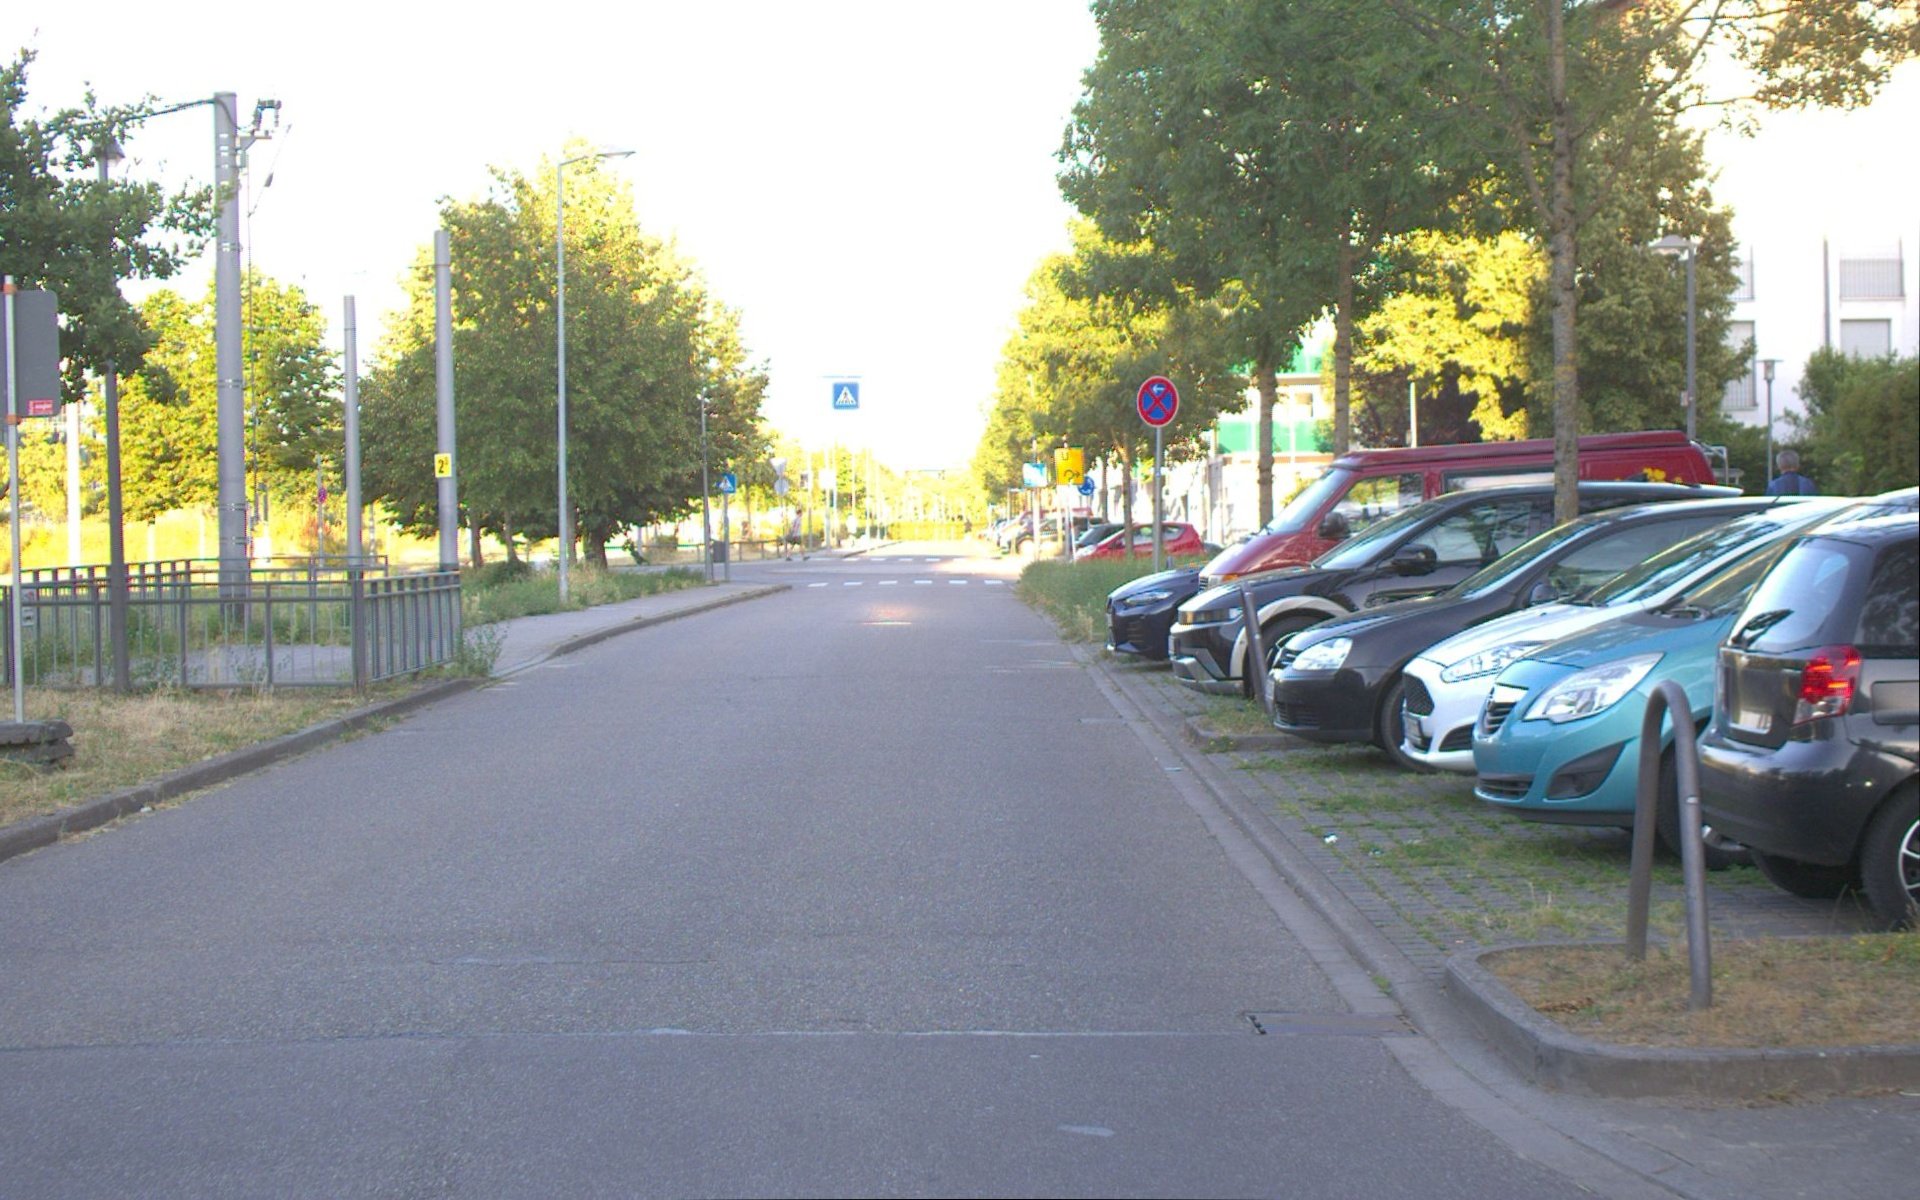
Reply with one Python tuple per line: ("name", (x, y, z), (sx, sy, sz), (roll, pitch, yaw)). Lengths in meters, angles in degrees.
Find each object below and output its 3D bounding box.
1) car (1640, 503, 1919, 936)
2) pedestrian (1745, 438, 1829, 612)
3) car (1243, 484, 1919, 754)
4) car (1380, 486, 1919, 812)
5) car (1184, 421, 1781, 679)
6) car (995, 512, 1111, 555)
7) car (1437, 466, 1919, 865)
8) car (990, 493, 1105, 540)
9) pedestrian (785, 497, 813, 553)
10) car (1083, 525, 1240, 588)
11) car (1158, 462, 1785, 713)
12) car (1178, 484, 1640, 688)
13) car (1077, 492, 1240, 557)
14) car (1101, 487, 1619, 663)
("car", (4.567, 0.369, 12.639), (3.749, 1.468, 1.613), (-1, 1, -4))
("pedestrian", (8.388, -0.760, 34.894), (0.668, 1.737, 0.699), (-1, 1, 0))
("car", (3.625, 0.116, 20.202), (3.773, 1.490, 1.539), (-1, -1, 0))
("car", (4.185, 0.211, 17.558), (3.876, 1.563, 1.620), (-1, 1, 0))
("car", (4.482, -0.441, 30.084), (4.920, 2.110, 2.017), (-1, 1, 1))
("car", (3.628, -2.599, 134.084), (4.484, 1.590, 2.000), (-1, 1, 1))
("car", (4.219, 0.204, 14.813), (4.050, 1.563, 1.673), (-2, 1, 0))
("car", (3.995, -3.804, 157.266), (5.002, 2.038, 2.251), (-1, 1, -4))
("pedestrian", (-5.811, -2.721, 124.237), (0.846, 2.007, 0.943), (-1, 1, 6))
("car", (5.054, -1.106, 86.503), (3.802, 1.503, 1.679), (-1, 1, -2))
("car", (3.622, -0.110, 24.908), (4.215, 1.563, 1.793), (-3, 1, 0))
("car", (3.627, -0.129, 28.178), (3.525, 1.460, 1.615), (-3, 1, 0))
("car", (4.823, -1.836, 83.661), (3.802, 1.503, 1.679), (-1, 1, -2))
("car", (3.710, -0.250, 32.471), (4.669, 1.551, 1.811), (-1, 1, 0))
